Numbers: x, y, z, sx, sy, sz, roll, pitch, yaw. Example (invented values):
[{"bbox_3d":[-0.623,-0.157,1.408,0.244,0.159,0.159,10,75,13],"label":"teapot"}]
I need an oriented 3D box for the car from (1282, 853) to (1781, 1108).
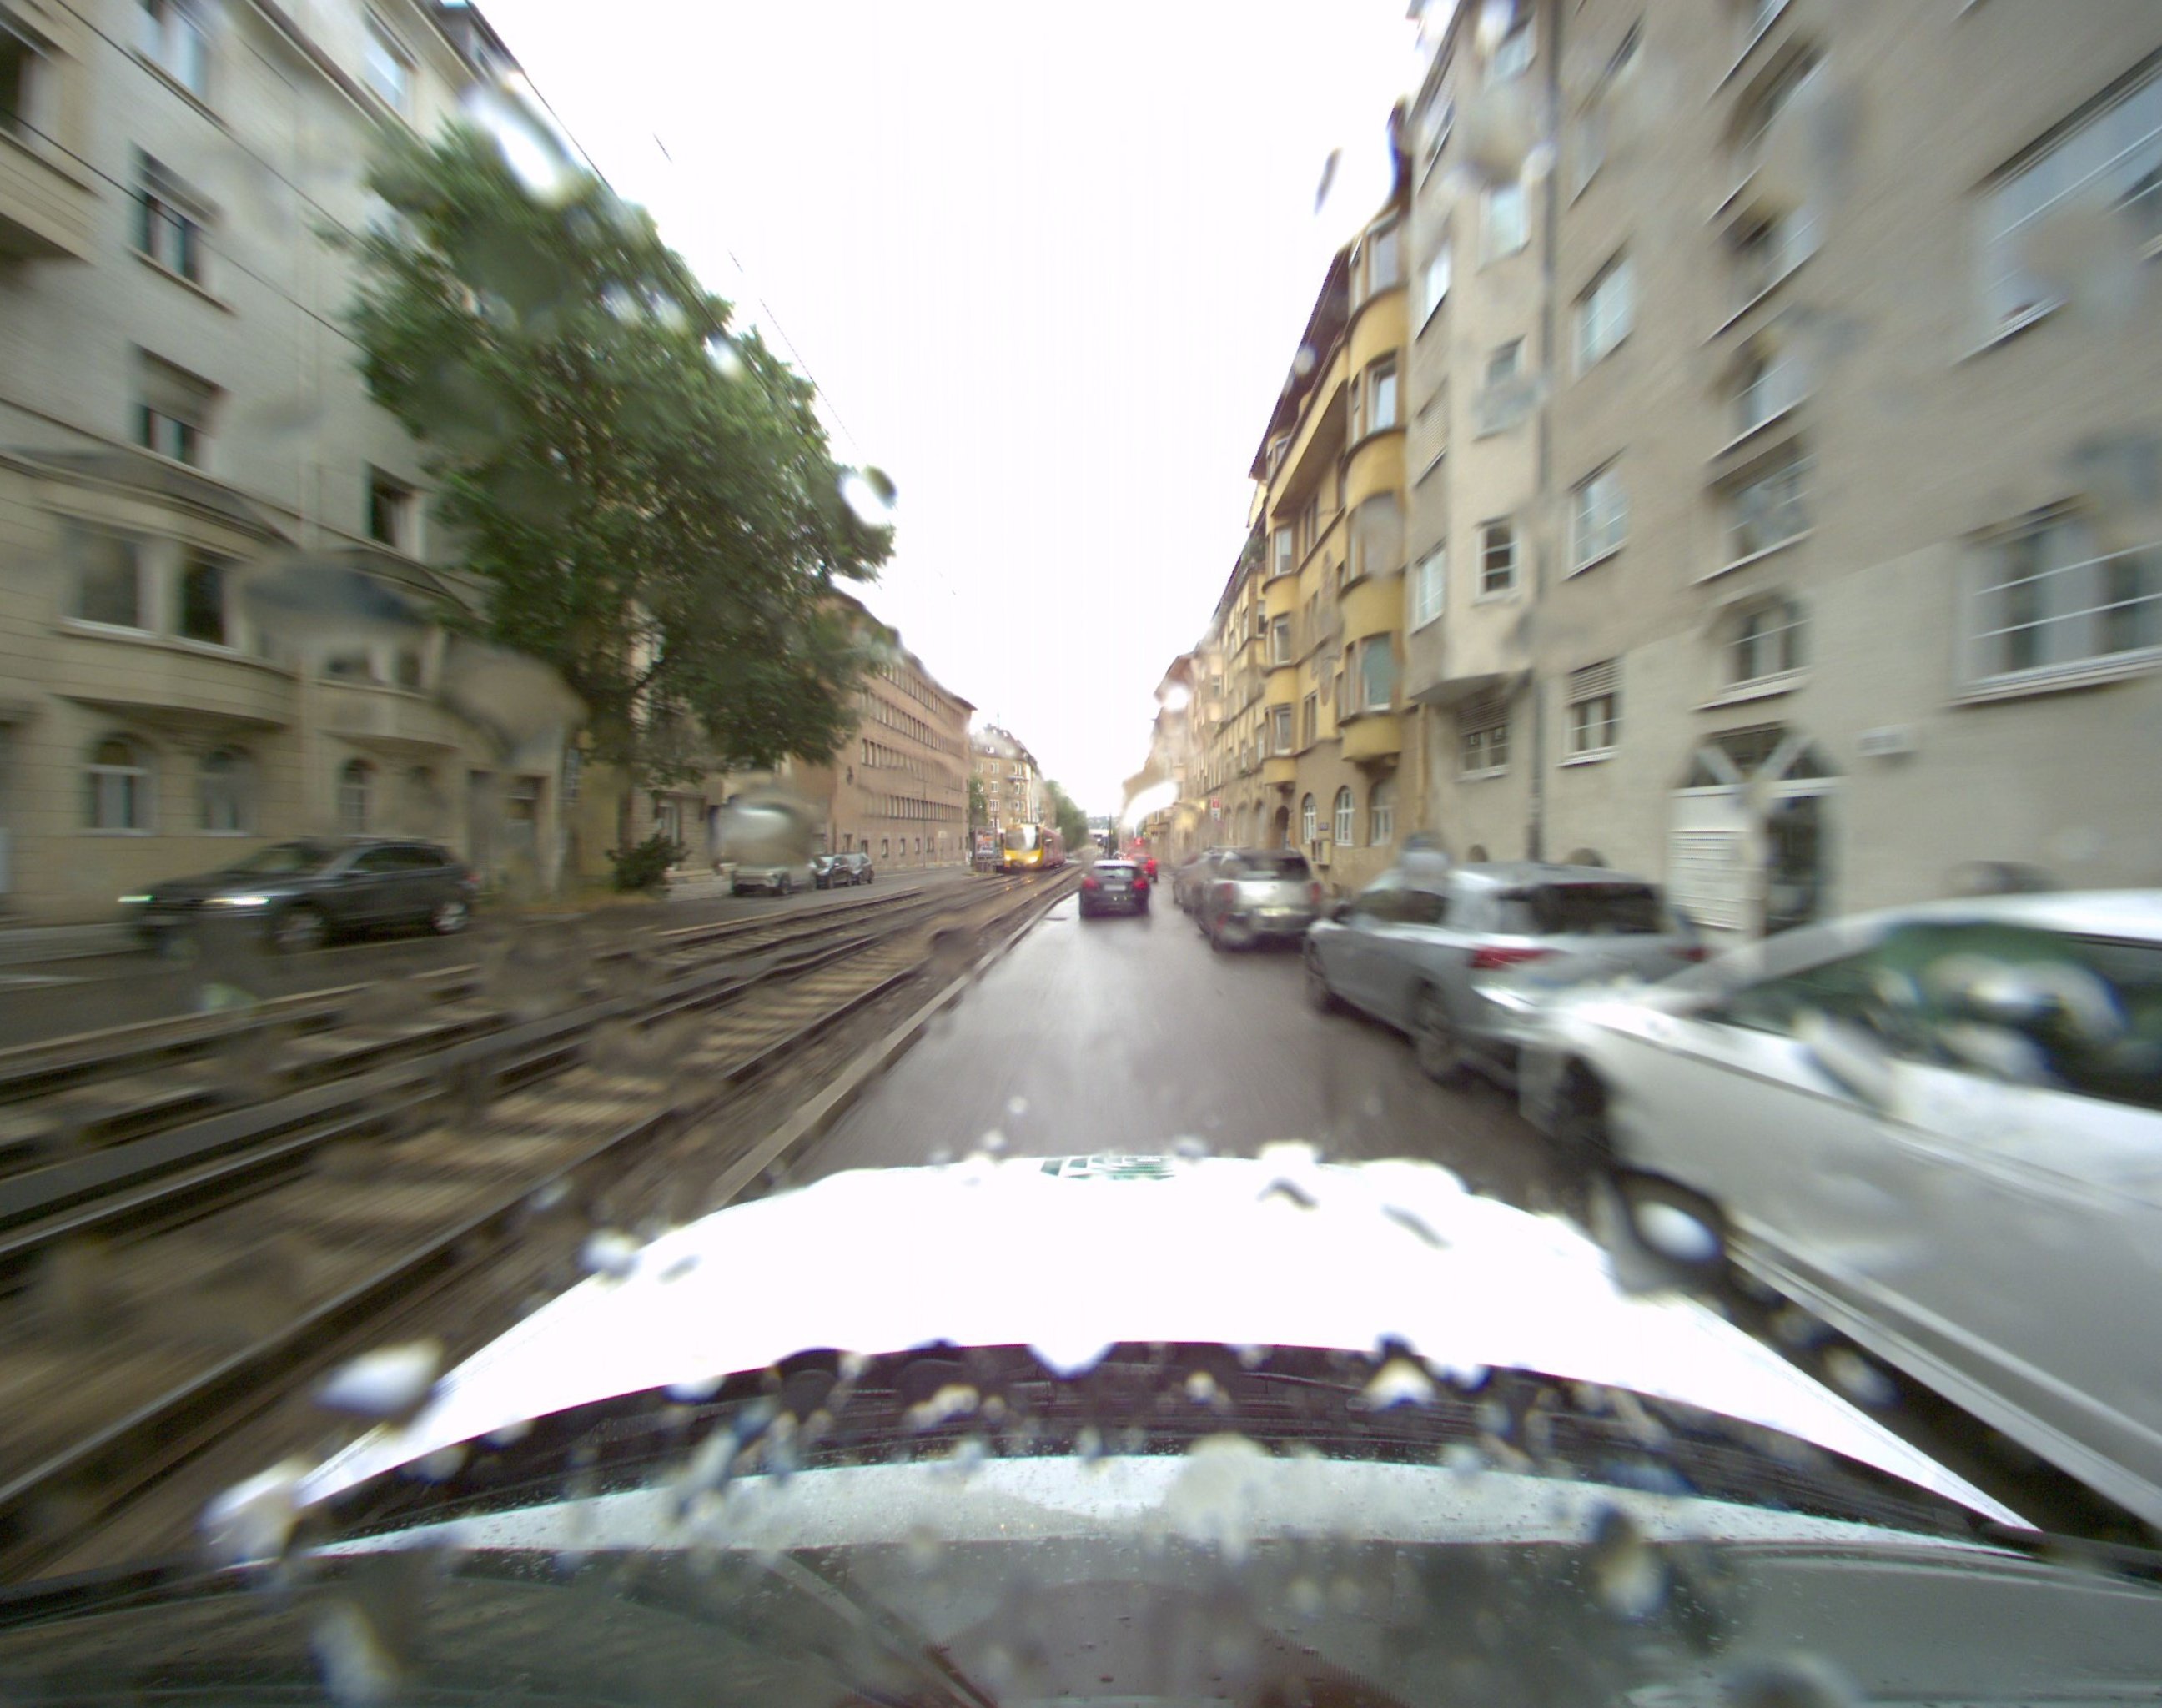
[{"bbox_3d":[3.163,0.758,6.931,1.826,1.468,4.374,0,-1,0],"label":"car"}]

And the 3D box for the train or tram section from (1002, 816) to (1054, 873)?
[{"bbox_3d":[-4.046,-0.691,66.510,2.735,4.061,17.219,0,0,1],"label":"train or tram section"}]

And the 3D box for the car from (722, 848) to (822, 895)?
[{"bbox_3d":[-11.367,0.600,30.267,1.954,1.605,4.330,1,0,1],"label":"car"}]

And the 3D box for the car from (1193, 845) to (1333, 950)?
[{"bbox_3d":[3.127,0.696,14.935,1.833,1.608,4.766,0,-1,4],"label":"car"}]

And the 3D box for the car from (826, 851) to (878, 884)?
[{"bbox_3d":[-10.957,0.614,39.087,1.566,1.466,3.045,1,0,1],"label":"car"}]

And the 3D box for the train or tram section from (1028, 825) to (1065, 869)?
[{"bbox_3d":[-3.312,-0.645,82.802,2.735,4.061,15.665,0,0,1],"label":"train or tram section"}]

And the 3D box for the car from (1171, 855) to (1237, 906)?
[{"bbox_3d":[3.801,0.800,25.602,1.586,1.440,3.309,1,-1,0],"label":"car"}]

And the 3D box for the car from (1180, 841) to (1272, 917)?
[{"bbox_3d":[3.617,0.608,20.987,1.771,1.750,4.552,0,-1,3],"label":"car"}]

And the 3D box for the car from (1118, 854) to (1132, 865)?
[{"bbox_3d":[6.161,0.732,113.878,1.879,1.525,4.250,1,0,4],"label":"car"}]

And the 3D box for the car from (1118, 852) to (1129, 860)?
[{"bbox_3d":[8.618,0.438,164.630,2.126,1.525,4.248,1,0,2],"label":"car"}]

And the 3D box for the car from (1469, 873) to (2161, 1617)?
[{"bbox_3d":[2.991,0.776,2.334,1.782,1.385,4.396,0,-1,2],"label":"car"}]

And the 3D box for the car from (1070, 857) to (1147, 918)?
[{"bbox_3d":[0.735,0.799,21.384,1.827,1.453,3.904,0,0,2],"label":"car"}]

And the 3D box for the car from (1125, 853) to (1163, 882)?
[{"bbox_3d":[3.498,0.749,45.891,1.986,1.525,4.248,1,0,2],"label":"car"}]

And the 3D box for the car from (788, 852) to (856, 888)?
[{"bbox_3d":[-11.144,0.658,35.324,1.660,1.415,3.689,1,0,2],"label":"car"}]

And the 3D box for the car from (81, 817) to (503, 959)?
[{"bbox_3d":[-11.981,0.430,13.002,1.946,1.742,4.779,3,0,1],"label":"car"}]
